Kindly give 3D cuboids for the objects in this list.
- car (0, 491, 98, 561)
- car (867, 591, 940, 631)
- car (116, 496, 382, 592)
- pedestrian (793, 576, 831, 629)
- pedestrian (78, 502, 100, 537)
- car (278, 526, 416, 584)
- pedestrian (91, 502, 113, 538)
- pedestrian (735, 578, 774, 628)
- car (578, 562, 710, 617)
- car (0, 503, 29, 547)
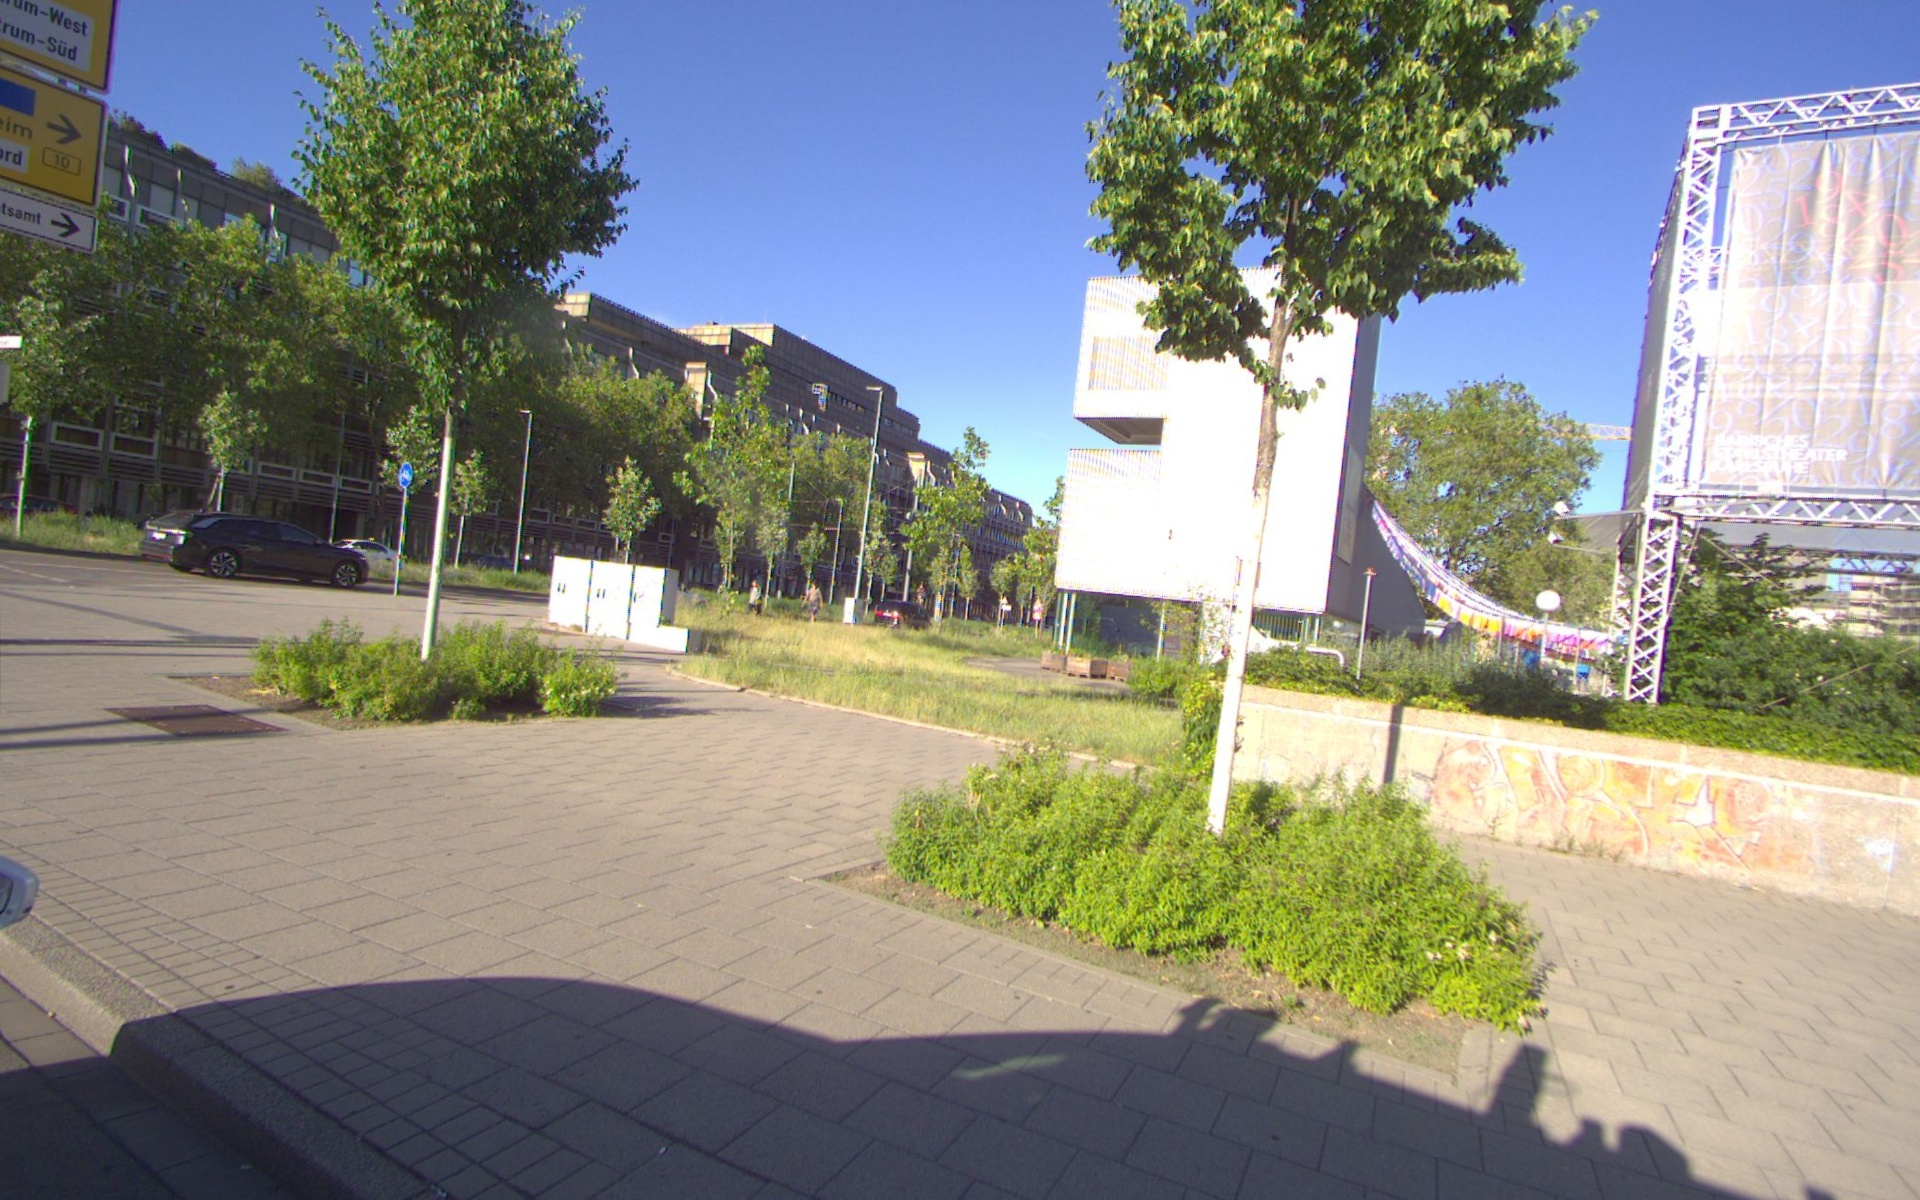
[{"bbox_3d":[-33.323,-2.713,35.377,1.966,2.037,3.997,6,-2,29],"label":"car"},{"bbox_3d":[-3.063,0.620,55.701,1.964,1.779,4.484,7,-1,25],"label":"car"},{"bbox_3d":[-17.370,-1.297,24.902,1.964,1.621,4.950,9,0,25],"label":"car"},{"bbox_3d":[-5.259,0.100,35.794,0.925,1.750,0.695,7,1,18],"label":"pedestrian"},{"bbox_3d":[-43.082,-3.990,49.750,0.576,1.610,0.541,7,1,29],"label":"pedestrian"},{"bbox_3d":[-30.686,-2.185,50.588,2.062,2.036,5.455,6,-2,29],"label":"car"},{"bbox_3d":[-42.202,-3.949,49.482,0.528,1.690,0.541,7,1,29],"label":"pedestrian"},{"bbox_3d":[-7.265,0.120,35.613,0.925,1.650,0.803,7,1,18],"label":"pedestrian"},{"bbox_3d":[-11.673,-0.350,37.537,1.964,1.546,4.700,7,-1,24],"label":"car"},{"bbox_3d":[-37.253,-3.045,36.947,1.836,1.525,3.997,7,-2,29],"label":"car"}]
